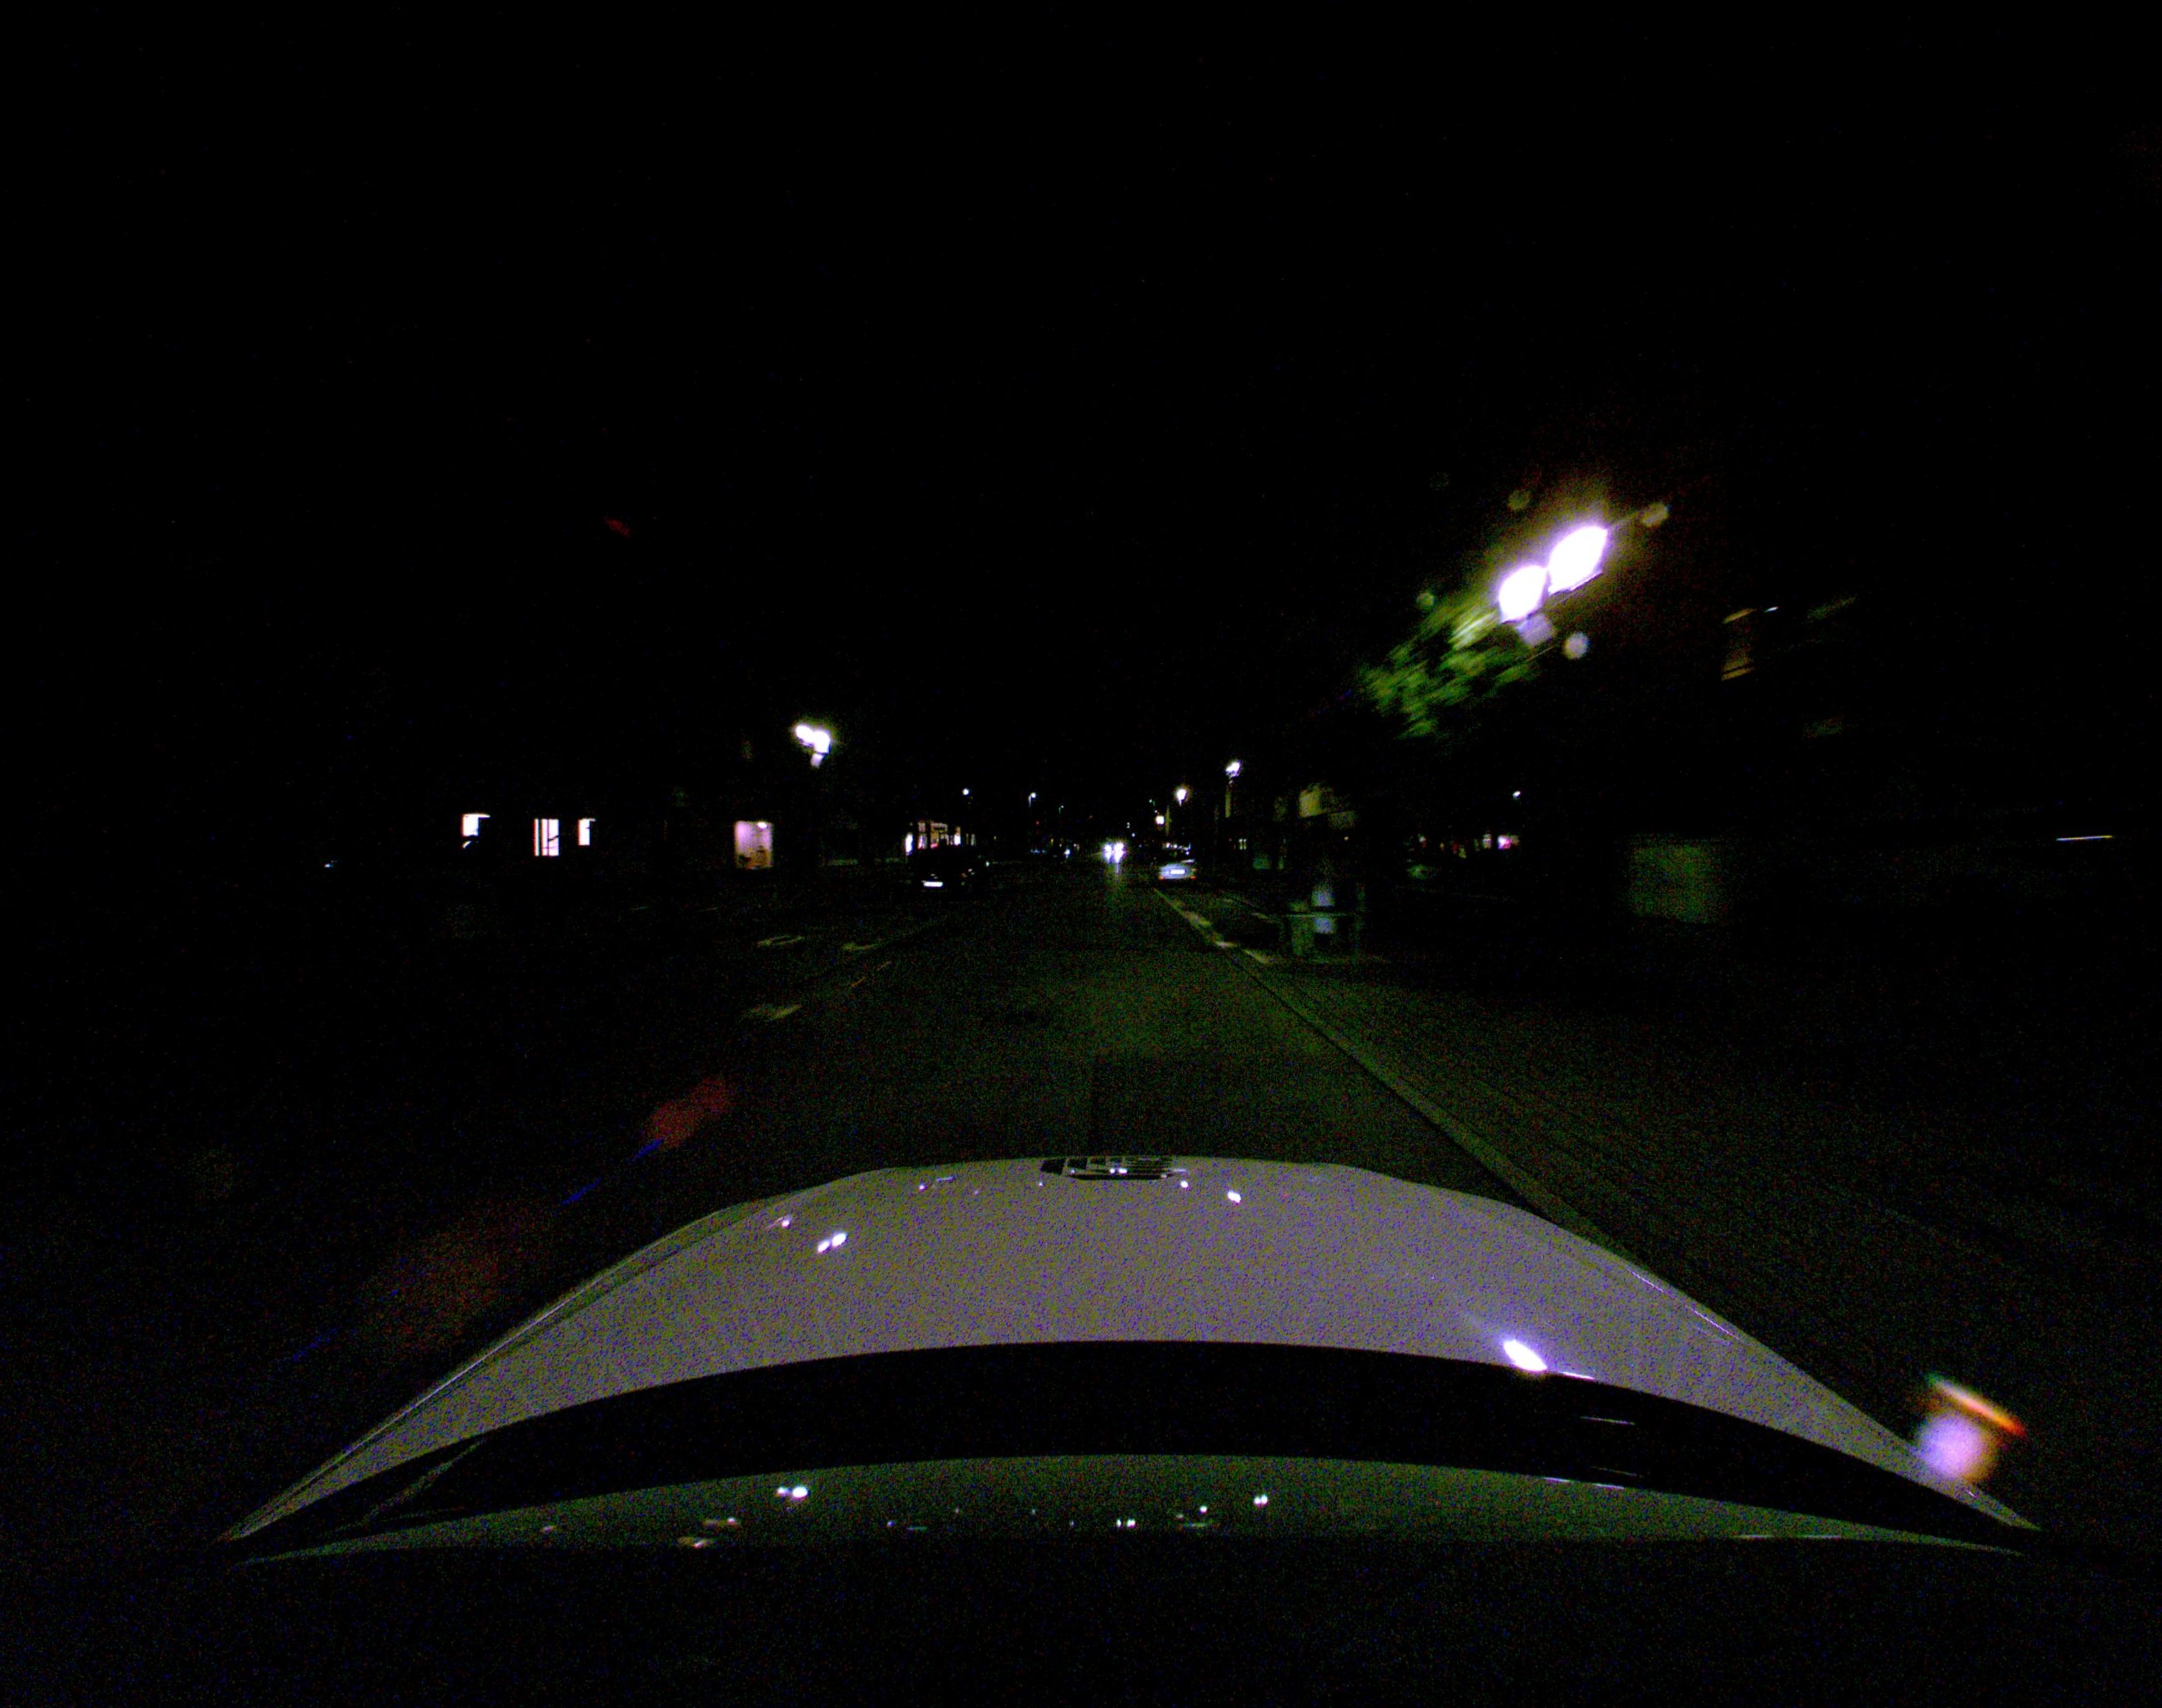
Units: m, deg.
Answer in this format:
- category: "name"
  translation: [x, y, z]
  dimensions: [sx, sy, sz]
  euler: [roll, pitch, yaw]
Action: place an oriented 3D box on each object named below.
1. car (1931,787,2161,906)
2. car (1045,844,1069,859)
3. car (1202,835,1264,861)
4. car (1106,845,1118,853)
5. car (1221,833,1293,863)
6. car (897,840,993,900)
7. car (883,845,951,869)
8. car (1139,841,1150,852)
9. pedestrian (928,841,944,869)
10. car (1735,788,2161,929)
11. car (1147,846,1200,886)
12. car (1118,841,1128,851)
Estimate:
- category: "car"
  translation: [14.226, -0.148, 10.695]
  dimensions: [1.799, 1.460, 4.056]
  euler: [-5, -1, 0]
- category: "car"
  translation: [-2.293, -0.295, 80.115]
  dimensions: [1.906, 1.370, 4.462]
  euler: [-1, 1, 4]
- category: "car"
  translation: [10.626, -0.418, 57.161]
  dimensions: [3.975, 1.476, 1.751]
  euler: [-4, 0, -1]
- category: "car"
  translation: [4.859, -0.760, 126.260]
  dimensions: [1.716, 1.246, 4.241]
  euler: [-1, 1, 3]
- category: "car"
  translation: [11.057, -0.417, 51.447]
  dimensions: [4.065, 1.581, 1.816]
  euler: [-4, 1, -2]
- category: "car"
  translation: [-4.234, 0.441, 26.227]
  dimensions: [2.010, 1.691, 5.006]
  euler: [1, 0, 3]
- category: "car"
  translation: [-11.367, 0.192, 56.611]
  dimensions: [4.147, 1.438, 1.844]
  euler: [-3, 0, 5]
- category: "car"
  translation: [10.376, -1.257, 133.453]
  dimensions: [1.768, 1.652, 4.368]
  euler: [-1, 1, 3]
- category: "pedestrian"
  translation: [-8.784, 0.057, 49.497]
  dimensions: [0.766, 1.656, 0.818]
  euler: [-1, 2, 3]
- category: "car"
  translation: [11.524, 0.080, 11.152]
  dimensions: [1.799, 1.460, 4.056]
  euler: [-5, -1, 0]
- category: "car"
  translation: [3.528, 0.428, 31.646]
  dimensions: [1.669, 1.459, 3.676]
  euler: [-1, 0, 0]
- category: "car"
  translation: [7.419, -1.472, 143.371]
  dimensions: [1.767, 1.652, 4.369]
  euler: [-1, 1, 4]
